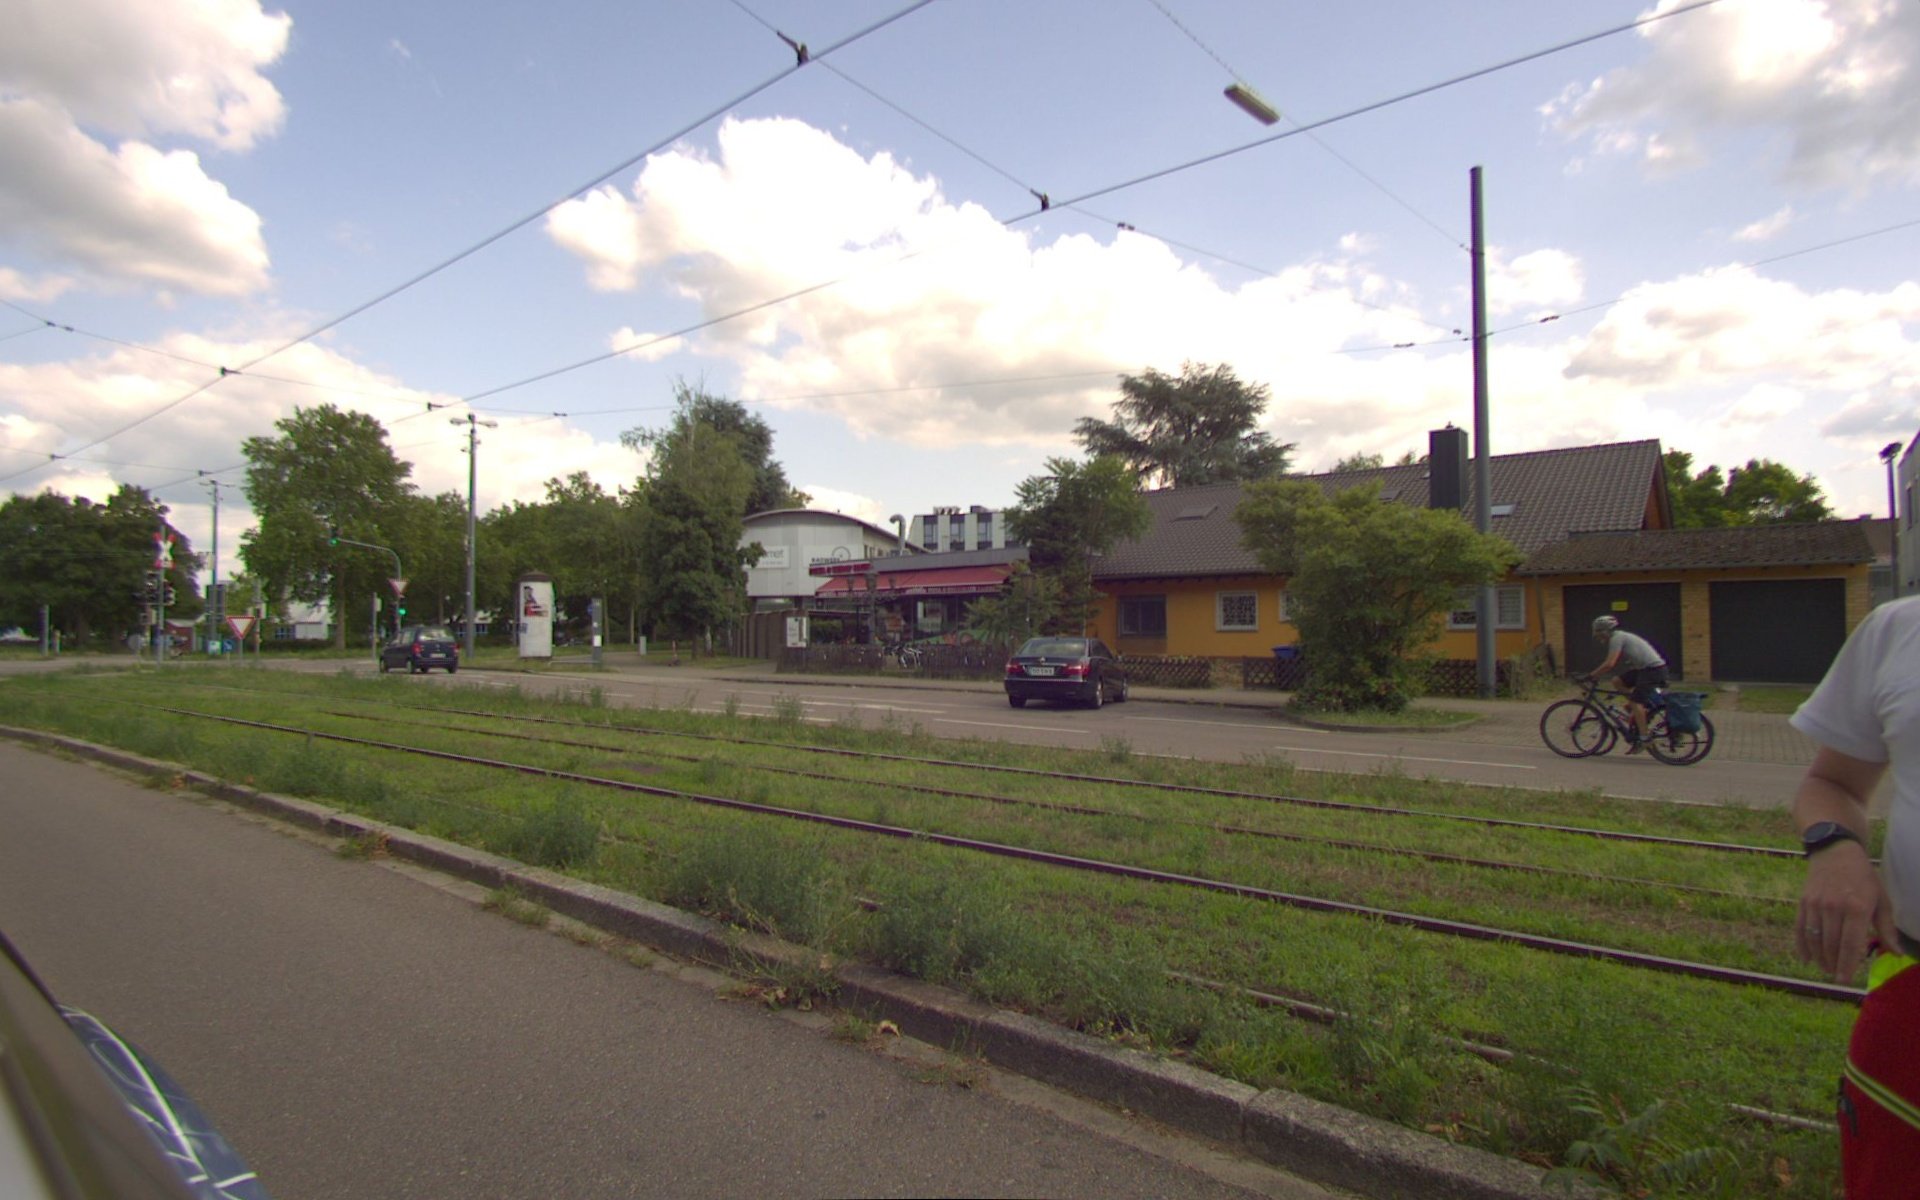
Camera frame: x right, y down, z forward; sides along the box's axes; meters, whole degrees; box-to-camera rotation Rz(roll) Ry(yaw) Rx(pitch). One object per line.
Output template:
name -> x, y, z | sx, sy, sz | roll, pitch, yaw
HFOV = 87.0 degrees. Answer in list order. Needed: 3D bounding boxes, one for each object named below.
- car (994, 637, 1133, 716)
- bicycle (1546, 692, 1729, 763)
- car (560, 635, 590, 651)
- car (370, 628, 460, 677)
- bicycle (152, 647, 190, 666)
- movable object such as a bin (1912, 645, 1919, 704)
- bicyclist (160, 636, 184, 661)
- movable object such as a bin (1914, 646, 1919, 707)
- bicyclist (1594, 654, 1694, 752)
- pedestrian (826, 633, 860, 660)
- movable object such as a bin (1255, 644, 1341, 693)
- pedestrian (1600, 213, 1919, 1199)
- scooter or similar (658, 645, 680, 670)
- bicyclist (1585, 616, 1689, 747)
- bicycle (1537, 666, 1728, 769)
car -> 2.296, 1.505, 21.225 | 1.869, 1.418, 4.620 | 1, -2, 20
bicycle -> 8.342, 1.548, 12.511 | 1.804, 0.723, 0.639 | -2, -3, 42
car -> -38.953, 4.350, 102.410 | 1.674, 1.535, 3.859 | 0, -2, -3
car -> -19.455, 1.833, 36.095 | 3.495, 1.639, 1.759 | -1, -2, 42
bicycle -> -48.113, 3.469, 61.721 | 2.051, 1.068, 0.800 | -3, -2, 17
movable object such as a bin -> 17.655, 1.351, 18.366 | 0.479, 1.050, 0.488 | -3, -2, 40
bicyclist -> -48.051, 2.935, 61.715 | 0.825, 1.481, 0.800 | -3, -2, 17
movable object such as a bin -> 17.301, 1.356, 17.940 | 0.481, 1.050, 0.499 | -3, -2, 40
bicyclist -> 8.415, 1.240, 12.458 | 0.928, 1.121, 0.632 | -2, -3, 41
pedestrian -> -5.034, 2.000, 43.581 | 0.931, 1.155, 1.141 | -2, -3, 41
movable object such as a bin -> 8.135, 1.625, 24.354 | 1.616, 1.109, 1.242 | -2, -3, 39
pedestrian -> 1.402, 0.451, 1.117 | 0.836, 1.699, 0.808 | 0, -1, -23
scooter or similar -> -12.202, 2.406, 42.385 | 0.421, 1.041, 1.225 | 1, -3, -40
bicyclist -> 8.002, 0.939, 11.969 | 0.928, 1.469, 0.616 | -2, -3, 41
bicycle -> 7.938, 1.350, 12.002 | 1.804, 1.088, 0.639 | -2, -3, 42
